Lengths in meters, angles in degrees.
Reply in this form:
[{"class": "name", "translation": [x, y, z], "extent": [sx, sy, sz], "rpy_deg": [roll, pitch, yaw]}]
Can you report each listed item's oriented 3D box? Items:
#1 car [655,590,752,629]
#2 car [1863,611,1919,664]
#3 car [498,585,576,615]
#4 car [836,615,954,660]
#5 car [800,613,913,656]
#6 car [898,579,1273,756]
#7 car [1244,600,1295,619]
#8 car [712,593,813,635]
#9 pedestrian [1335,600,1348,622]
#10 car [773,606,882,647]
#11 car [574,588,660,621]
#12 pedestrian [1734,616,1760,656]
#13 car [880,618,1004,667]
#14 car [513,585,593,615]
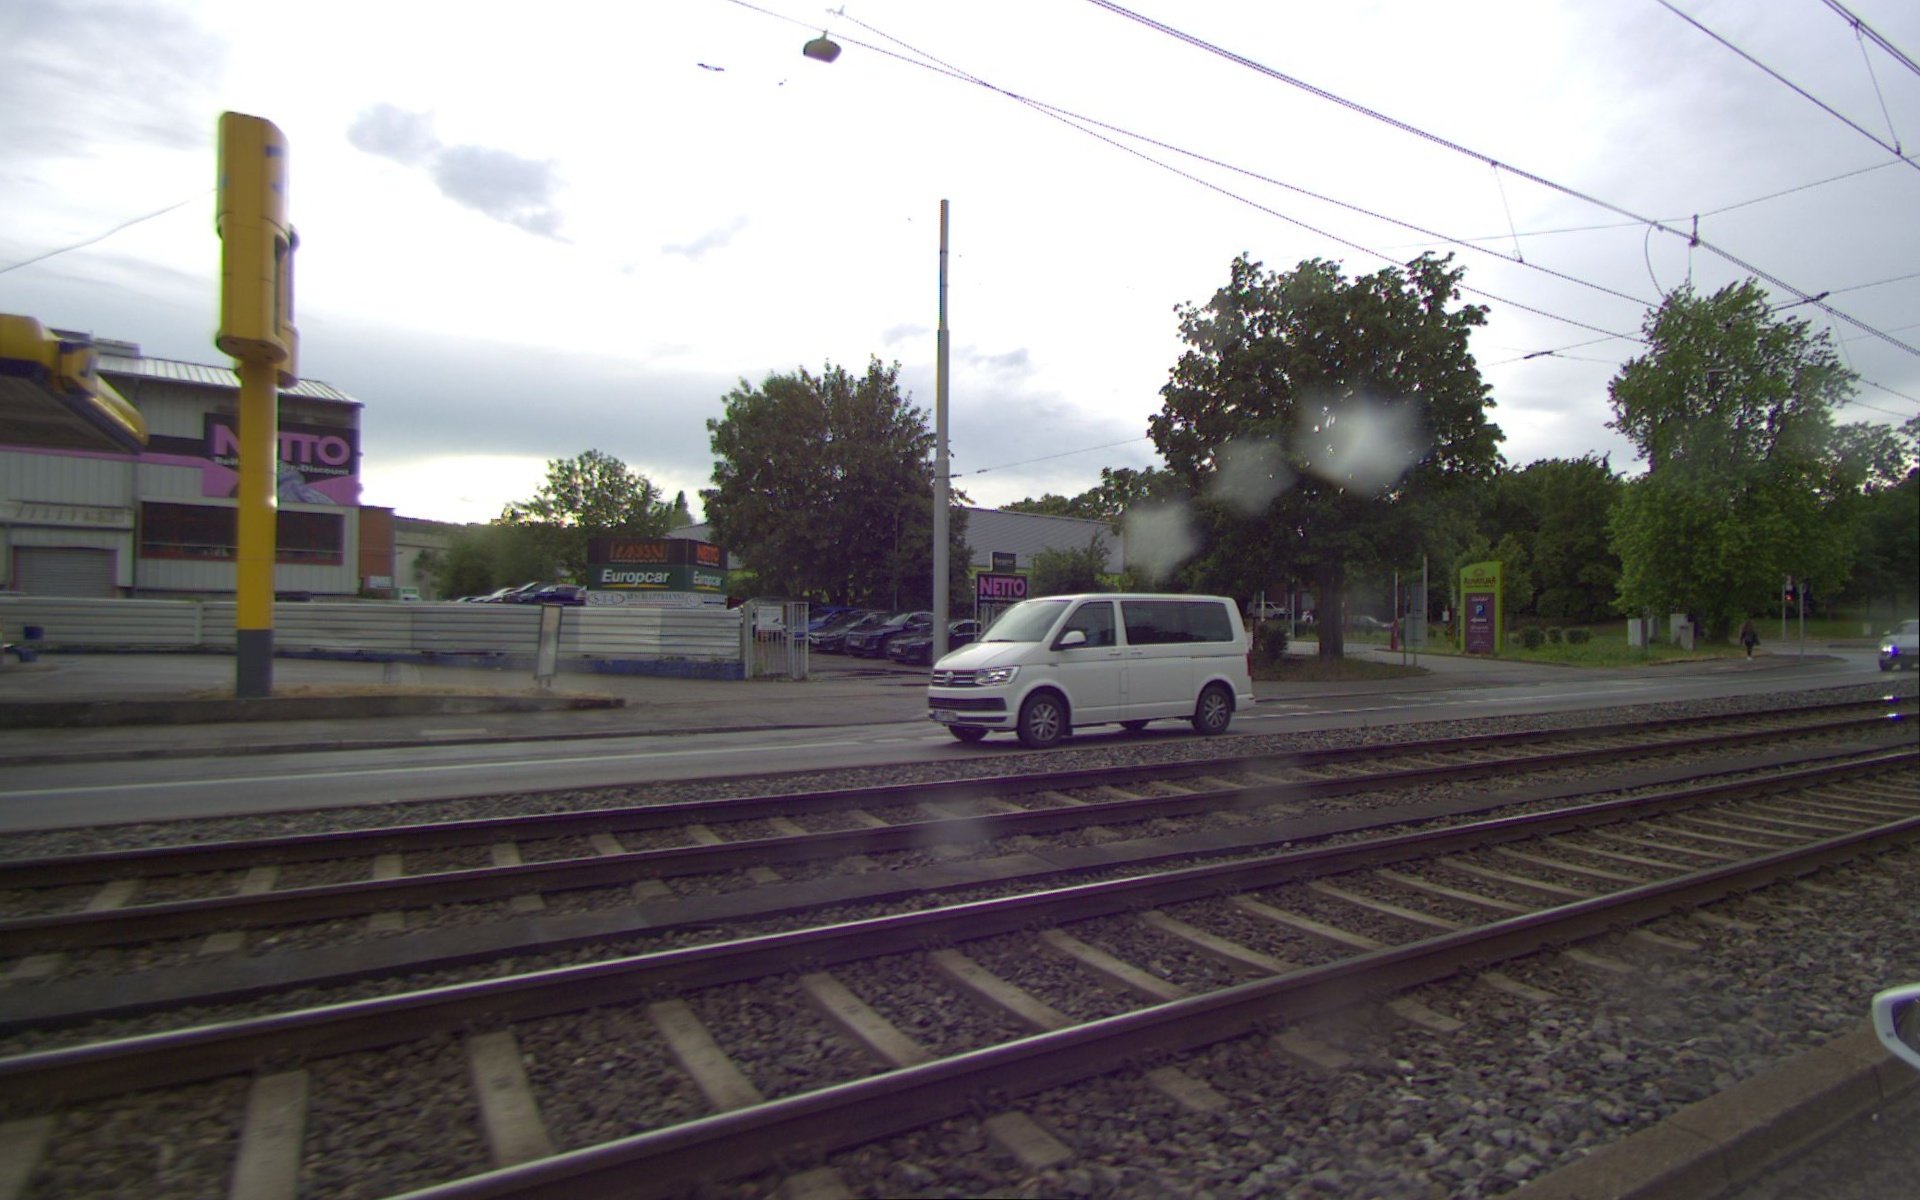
[{"class": "car", "translation": [-11.769, 0.436, 46.252], "extent": [3.966, 1.639, 1.672], "rpy_deg": [3, -1, -39]}, {"class": "car", "translation": [32.137, 1.230, 33.508], "extent": [4.713, 1.671, 1.981], "rpy_deg": [1, -3, -36]}, {"class": "car", "translation": [-25.824, -0.007, 61.366], "extent": [3.967, 1.633, 1.850], "rpy_deg": [3, -1, -40]}, {"class": "car", "translation": [-2.284, 1.346, 35.898], "extent": [3.966, 1.476, 1.672], "rpy_deg": [3, -1, -39]}, {"class": "car", "translation": [-3.877, 1.318, 37.945], "extent": [3.966, 1.476, 1.672], "rpy_deg": [3, -1, -39]}, {"class": "car", "translation": [1.815, 0.870, 13.842], "extent": [5.004, 2.040, 1.983], "rpy_deg": [1, -4, -33]}, {"class": "car", "translation": [33.099, 1.021, 107.507], "extent": [1.981, 1.829, 5.095], "rpy_deg": [2, -1, -36]}, {"class": "car", "translation": [-8.567, 0.603, 43.667], "extent": [3.966, 1.673, 1.672], "rpy_deg": [3, -1, -39]}, {"class": "pedestrian", "translation": [28.849, 0.810, 76.010], "extent": [0.598, 1.623, 0.673], "rpy_deg": [2, 0, -25]}, {"class": "car", "translation": [-5.202, 1.047, 39.732], "extent": [3.966, 1.476, 1.672], "rpy_deg": [3, -1, -39]}, {"class": "car", "translation": [-18.281, 0.251, 53.578], "extent": [3.966, 1.639, 1.672], "rpy_deg": [3, -1, -39]}, {"class": "pedestrian", "translation": [31.196, 1.437, 39.822], "extent": [0.661, 1.552, 0.588], "rpy_deg": [2, 0, -31]}, {"class": "car", "translation": [-0.567, 1.430, 33.646], "extent": [3.966, 1.476, 1.672], "rpy_deg": [3, -1, -39]}, {"class": "car", "translation": [-24.011, 0.002, 59.305], "extent": [3.967, 1.633, 1.850], "rpy_deg": [3, -1, -40]}]
